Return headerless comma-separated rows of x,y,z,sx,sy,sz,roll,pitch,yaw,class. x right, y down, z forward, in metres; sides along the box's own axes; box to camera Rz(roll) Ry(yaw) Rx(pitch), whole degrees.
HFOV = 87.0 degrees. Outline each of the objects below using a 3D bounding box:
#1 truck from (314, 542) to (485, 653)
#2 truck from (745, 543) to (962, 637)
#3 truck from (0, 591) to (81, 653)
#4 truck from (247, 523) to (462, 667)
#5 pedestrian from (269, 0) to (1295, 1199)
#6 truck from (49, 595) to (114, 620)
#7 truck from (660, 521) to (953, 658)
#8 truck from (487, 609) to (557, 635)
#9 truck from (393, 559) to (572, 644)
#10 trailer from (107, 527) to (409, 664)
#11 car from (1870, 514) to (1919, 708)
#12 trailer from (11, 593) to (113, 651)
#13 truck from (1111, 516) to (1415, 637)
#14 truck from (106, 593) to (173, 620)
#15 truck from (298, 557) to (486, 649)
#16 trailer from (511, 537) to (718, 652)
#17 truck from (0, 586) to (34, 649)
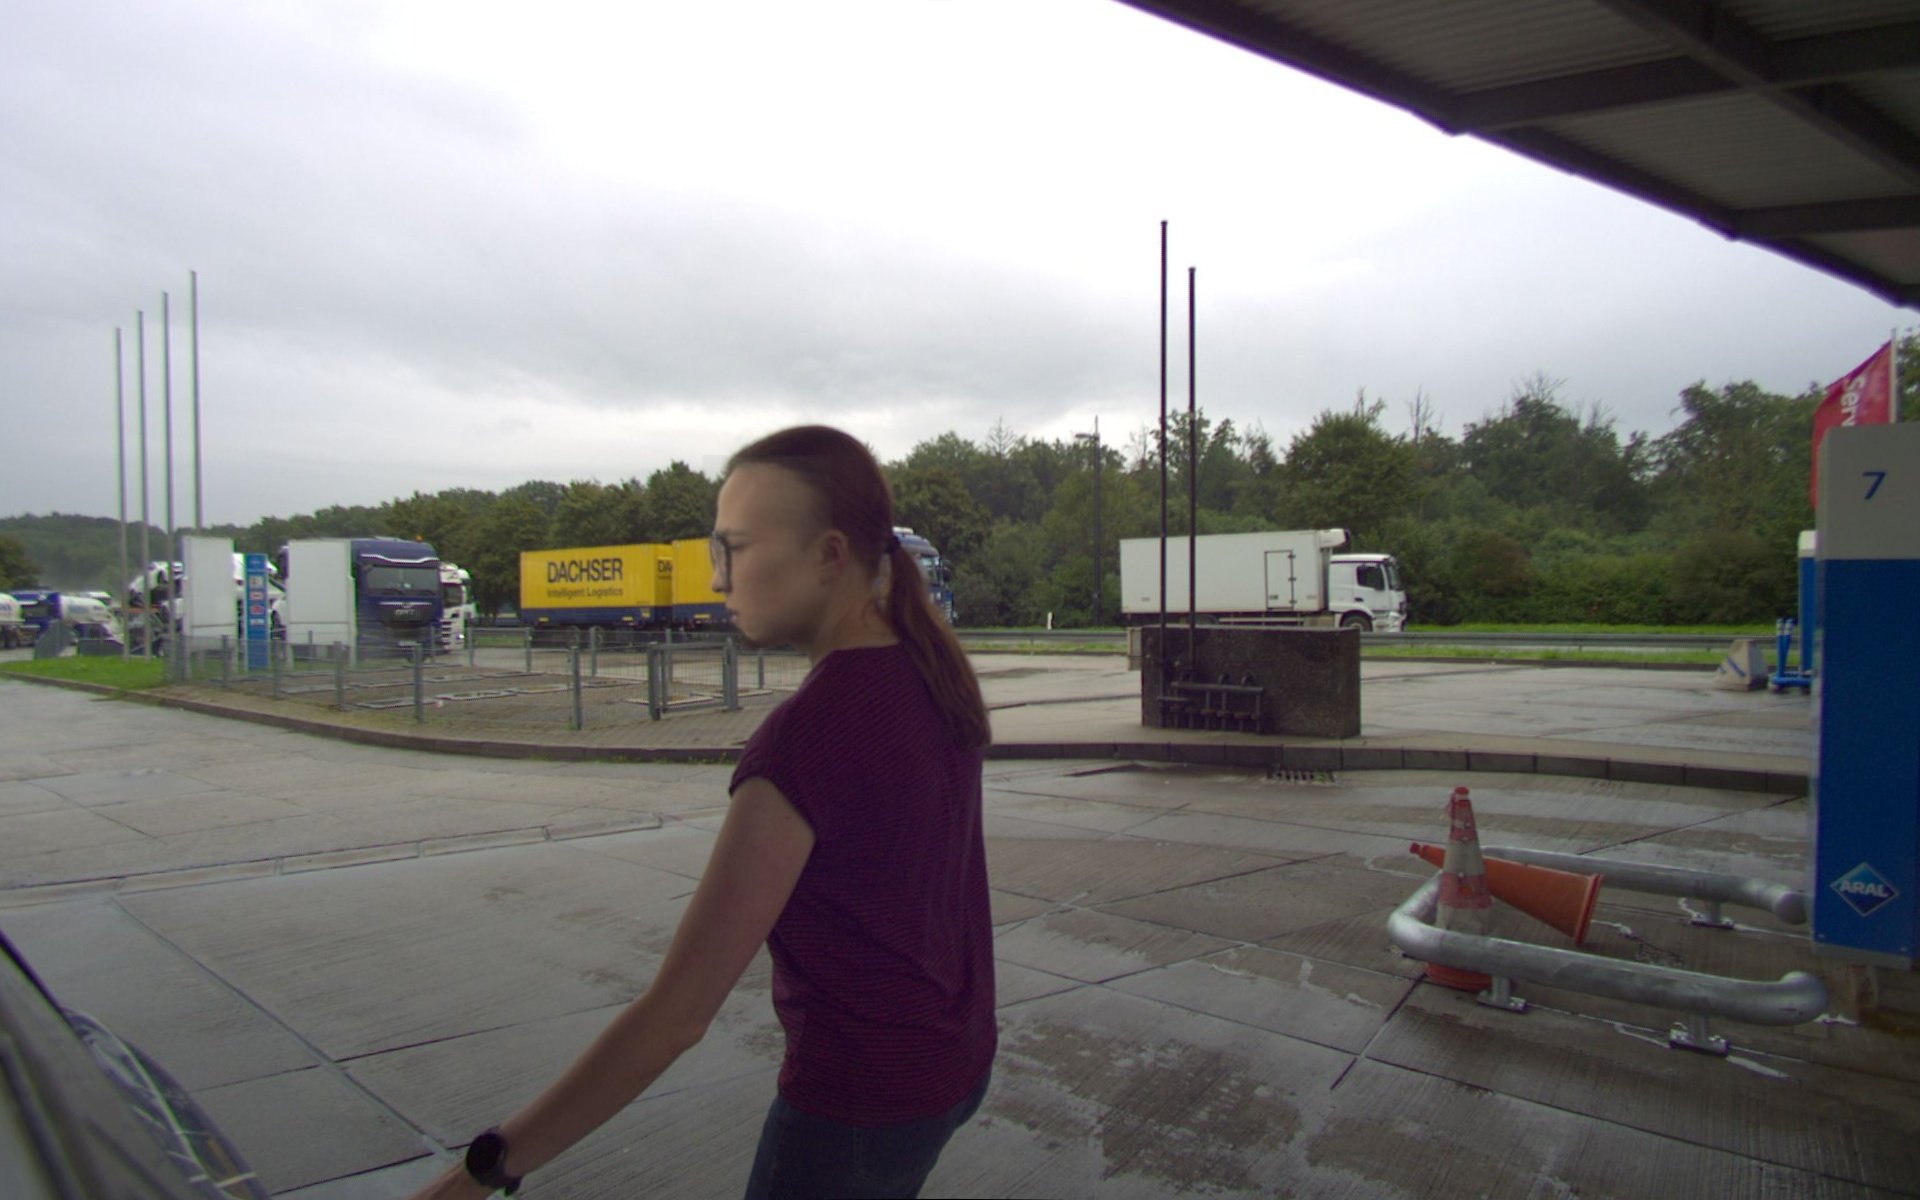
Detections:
-22.200,-0.053,40.002,6.717,4.063,2.960,-1,0,31,truck
-5.154,-0.402,47.696,10.433,4.063,2.961,-1,0,30,truck
-59.438,1.371,65.000,3.000,3.795,6.486,-1,0,-27,truck
-19.006,-0.113,31.627,7.244,4.063,2.957,-1,0,34,truck
-0.183,0.338,1.140,0.839,1.747,0.786,-1,-1,40,pedestrian
-134.042,1.211,154.294,16.515,3.591,3.215,-1,0,34,truck
-5.404,-0.269,33.961,10.608,4.063,2.743,-1,0,33,truck
-40.633,2.036,93.807,6.158,2.321,3.101,-1,-1,33,truck
-24.794,0.142,52.280,10.433,4.063,2.961,-1,0,30,truck
-25.430,-0.056,35.930,16.563,4.063,2.957,-1,0,34,trailer
14.867,0.114,12.394,5.272,2.482,2.298,-1,-2,37,car
-62.284,1.434,70.486,2.854,3.666,10.605,-1,0,-28,trailer
11.080,-0.734,37.694,10.433,4.063,2.961,-1,0,30,truck
-114.624,1.009,141.270,14.626,3.591,3.215,-1,-1,34,truck
-27.315,0.177,48.451,10.433,4.063,2.961,-1,0,30,truck
-13.560,-0.165,39.295,8.833,4.063,2.743,-1,0,33,trailer
-55.572,1.018,55.021,3.196,3.591,12.013,-1,0,-19,truck
